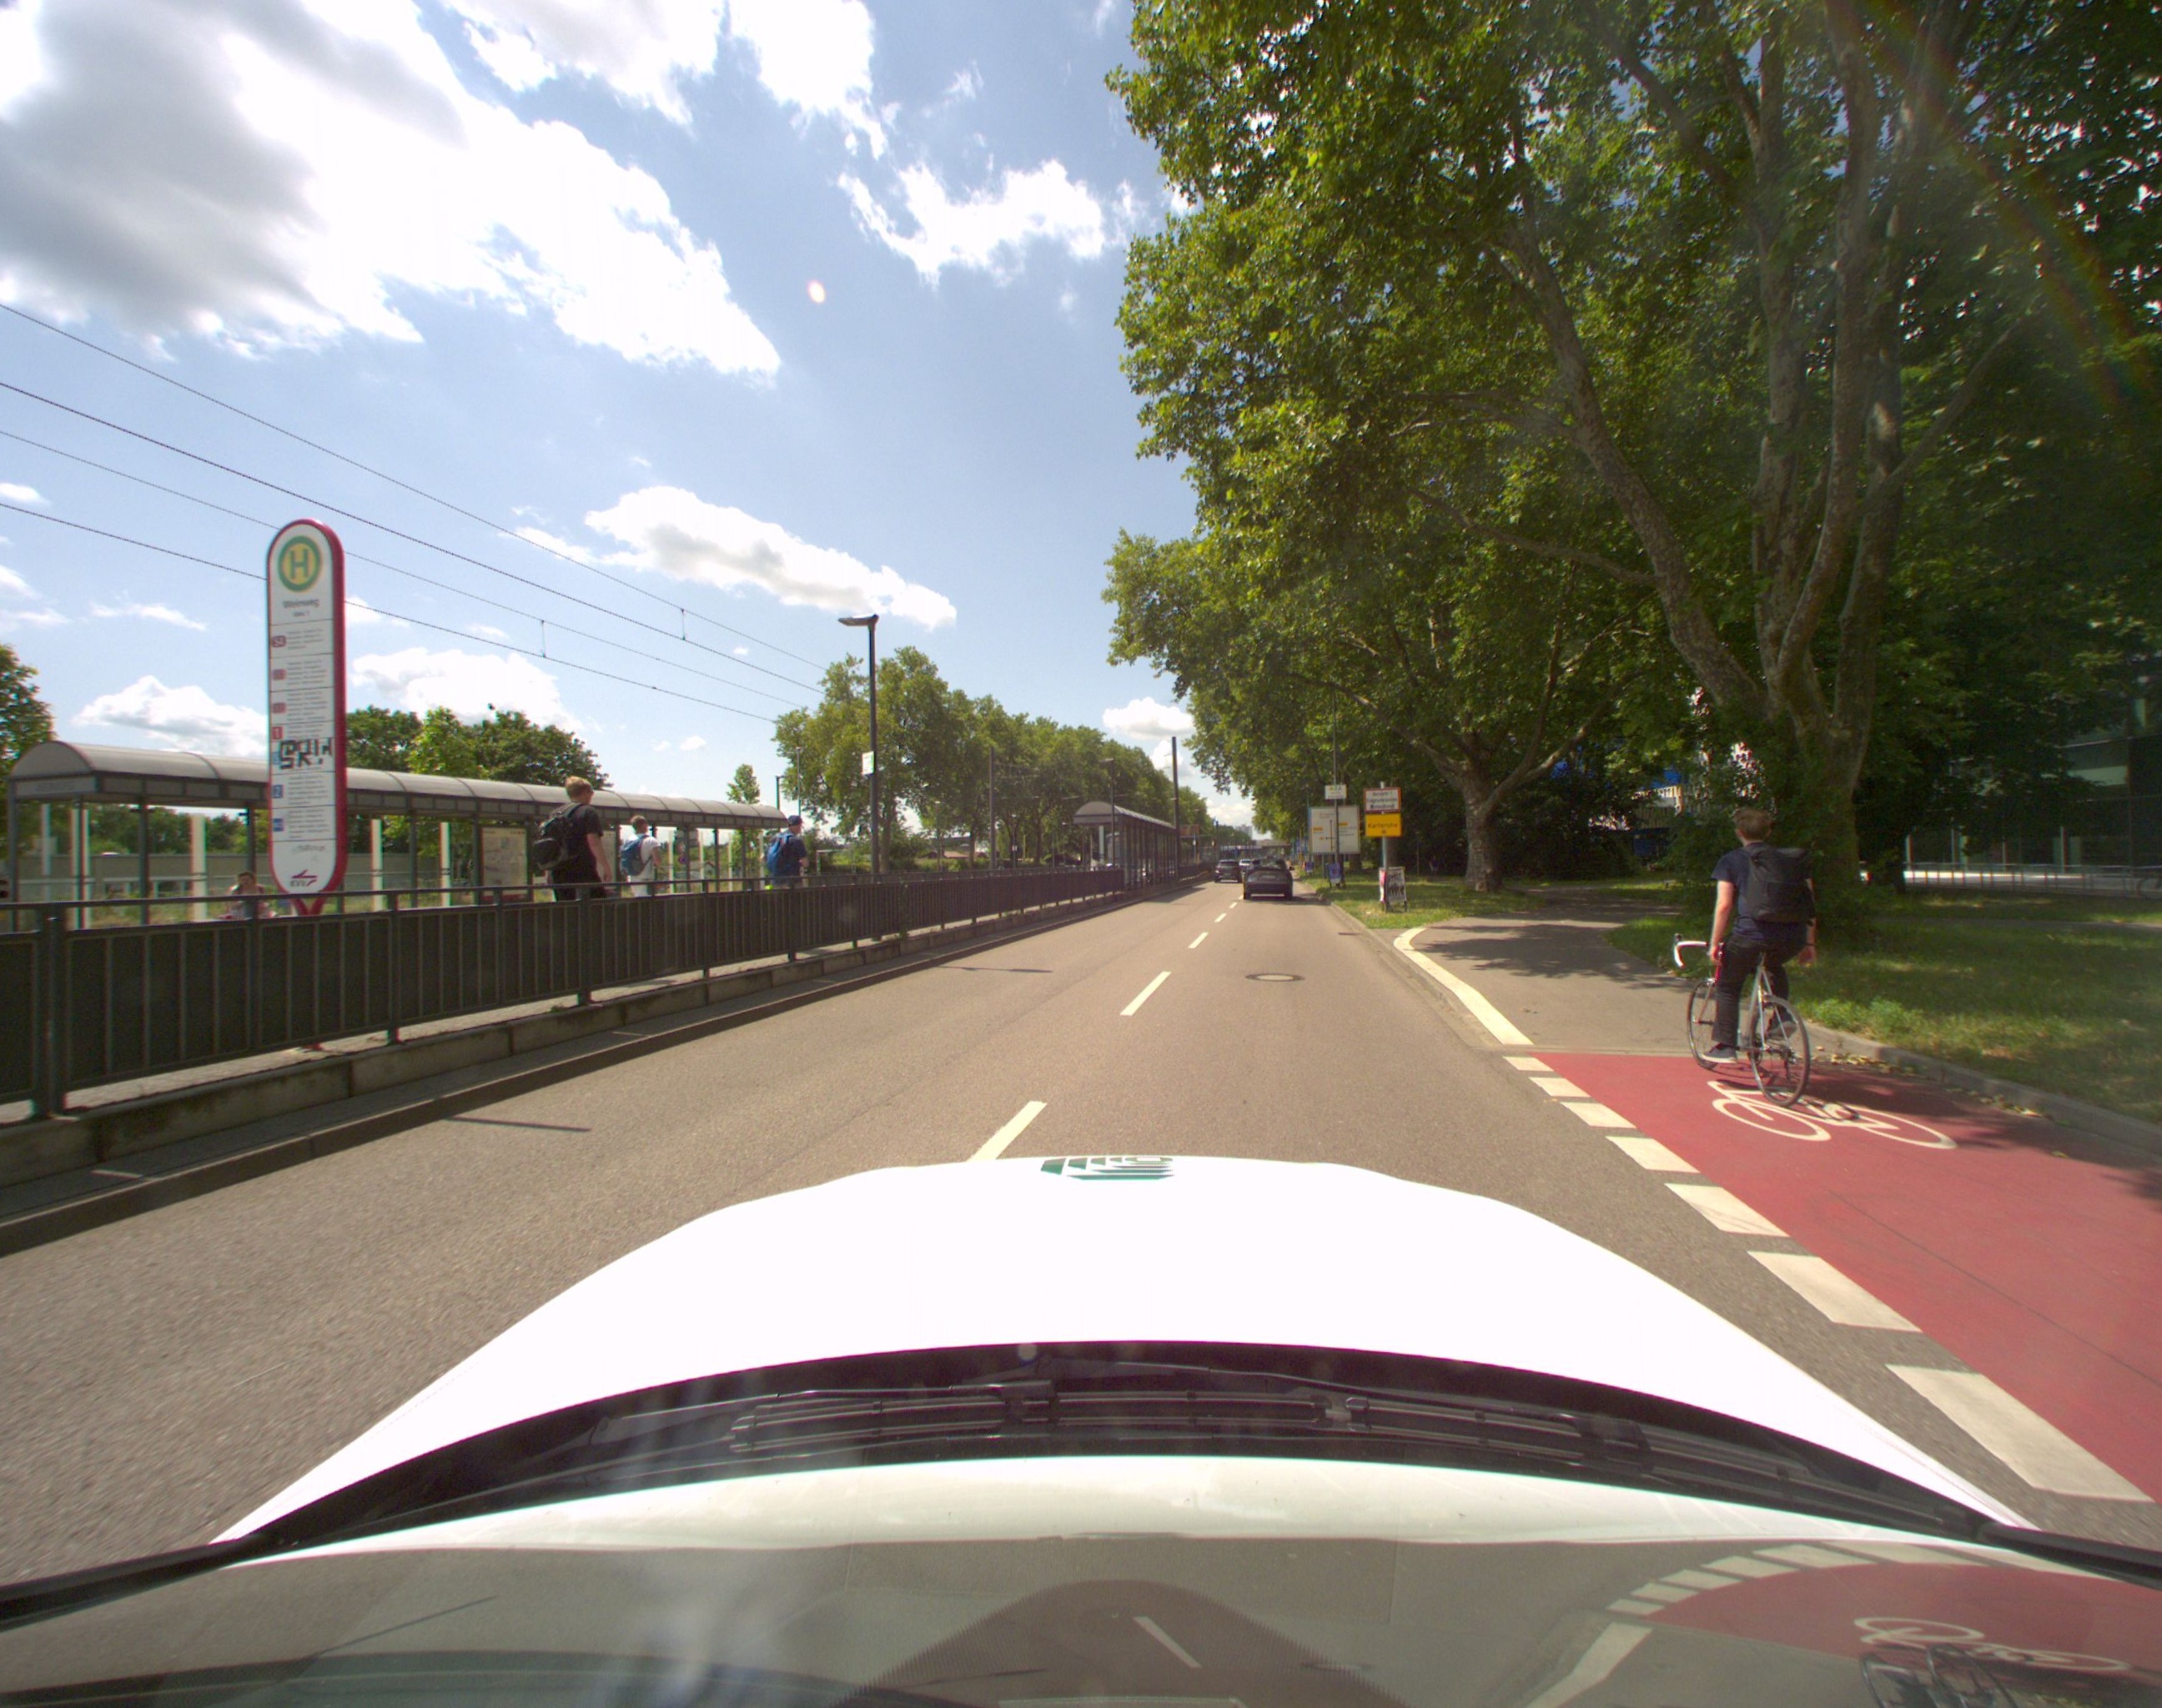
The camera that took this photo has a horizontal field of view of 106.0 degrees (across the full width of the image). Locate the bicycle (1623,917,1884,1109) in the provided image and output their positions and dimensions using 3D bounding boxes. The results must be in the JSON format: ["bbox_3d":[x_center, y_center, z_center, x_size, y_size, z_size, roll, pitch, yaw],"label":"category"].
[{"bbox_3d":[4.585,0.999,5.760,0.615,0.999,2.031,0,-2,15],"label":"bicycle"}]

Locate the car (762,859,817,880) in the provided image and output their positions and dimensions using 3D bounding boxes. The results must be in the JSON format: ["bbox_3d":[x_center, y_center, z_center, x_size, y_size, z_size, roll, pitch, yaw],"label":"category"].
[{"bbox_3d":[-24.410,1.307,68.248,3.886,1.662,1.918,-1,1,15],"label":"car"}]

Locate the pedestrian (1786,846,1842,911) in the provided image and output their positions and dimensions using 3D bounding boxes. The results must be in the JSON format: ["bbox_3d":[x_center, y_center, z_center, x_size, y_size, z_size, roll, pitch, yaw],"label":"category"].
[{"bbox_3d":[19.573,0.631,21.770,0.769,1.695,0.895,-1,0,14],"label":"pedestrian"}]

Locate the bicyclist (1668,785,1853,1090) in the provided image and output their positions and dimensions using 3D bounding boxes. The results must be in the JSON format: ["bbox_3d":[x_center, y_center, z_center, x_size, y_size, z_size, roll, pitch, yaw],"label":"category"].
[{"bbox_3d":[4.492,0.507,5.455,0.605,1.846,0.927,0,-1,15],"label":"bicyclist"}]

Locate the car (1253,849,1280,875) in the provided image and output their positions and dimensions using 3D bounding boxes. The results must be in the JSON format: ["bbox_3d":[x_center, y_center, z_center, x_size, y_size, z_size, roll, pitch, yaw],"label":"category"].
[{"bbox_3d":[15.158,0.636,66.273,1.979,1.989,4.380,-1,0,15],"label":"car"}]

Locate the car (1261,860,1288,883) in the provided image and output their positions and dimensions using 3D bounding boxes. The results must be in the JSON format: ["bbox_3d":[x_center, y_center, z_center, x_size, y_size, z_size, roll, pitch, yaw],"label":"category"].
[{"bbox_3d":[14.231,1.264,59.916,1.819,1.630,4.310,-1,-1,12],"label":"car"}]

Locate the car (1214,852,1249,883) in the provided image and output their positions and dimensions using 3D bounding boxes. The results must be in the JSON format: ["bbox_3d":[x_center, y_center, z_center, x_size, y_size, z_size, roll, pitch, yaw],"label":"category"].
[{"bbox_3d":[10.374,0.880,55.878,1.979,1.989,4.379,-2,-1,14],"label":"car"}]

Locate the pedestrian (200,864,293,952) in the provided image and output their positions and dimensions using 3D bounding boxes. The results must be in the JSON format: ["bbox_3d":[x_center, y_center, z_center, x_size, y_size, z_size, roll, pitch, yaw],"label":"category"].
[{"bbox_3d":[-14.404,0.912,14.071,0.755,1.431,0.790,-4,-1,14],"label":"pedestrian"}]

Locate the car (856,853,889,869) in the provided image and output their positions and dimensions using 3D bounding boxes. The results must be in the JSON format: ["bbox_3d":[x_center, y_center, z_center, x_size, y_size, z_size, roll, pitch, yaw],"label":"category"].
[{"bbox_3d":[-22.998,0.726,89.837,1.891,1.662,3.942,-1,1,12],"label":"car"}]

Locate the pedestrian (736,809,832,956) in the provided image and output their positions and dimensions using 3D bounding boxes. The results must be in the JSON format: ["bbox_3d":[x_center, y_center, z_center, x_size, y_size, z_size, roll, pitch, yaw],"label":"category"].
[{"bbox_3d":[-3.714,0.341,10.240,0.728,1.755,0.933,-1,0,14],"label":"pedestrian"}]

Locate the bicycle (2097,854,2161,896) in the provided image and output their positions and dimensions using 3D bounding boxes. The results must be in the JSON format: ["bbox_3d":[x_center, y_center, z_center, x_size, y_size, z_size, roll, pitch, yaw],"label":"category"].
[{"bbox_3d":[30.200,0.574,22.336,2.742,1.121,0.902,-2,-1,38],"label":"bicycle"}]

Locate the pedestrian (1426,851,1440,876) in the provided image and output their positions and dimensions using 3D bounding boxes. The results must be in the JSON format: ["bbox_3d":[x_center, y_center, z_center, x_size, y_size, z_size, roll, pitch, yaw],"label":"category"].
[{"bbox_3d":[29.019,0.808,67.127,0.830,2.013,0.960,1,0,12],"label":"pedestrian"}]

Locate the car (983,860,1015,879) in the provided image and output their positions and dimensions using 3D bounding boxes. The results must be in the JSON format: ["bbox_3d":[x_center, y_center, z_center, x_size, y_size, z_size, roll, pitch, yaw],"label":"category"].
[{"bbox_3d":[-7.577,1.397,75.618,1.696,1.585,4.015,-1,1,14],"label":"car"}]

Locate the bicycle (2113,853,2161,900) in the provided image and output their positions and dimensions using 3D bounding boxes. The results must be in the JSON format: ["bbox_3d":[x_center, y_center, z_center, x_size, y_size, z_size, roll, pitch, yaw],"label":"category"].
[{"bbox_3d":[29.207,0.546,20.529,3.789,1.176,0.993,-3,-1,39],"label":"bicycle"}]

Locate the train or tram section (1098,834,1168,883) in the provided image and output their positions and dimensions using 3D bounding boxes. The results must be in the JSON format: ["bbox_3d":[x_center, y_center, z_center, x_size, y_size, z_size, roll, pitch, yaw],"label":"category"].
[{"bbox_3d":[4.124,0.334,60.281,3.017,3.186,14.147,-1,-1,12],"label":"train or tram section"}]

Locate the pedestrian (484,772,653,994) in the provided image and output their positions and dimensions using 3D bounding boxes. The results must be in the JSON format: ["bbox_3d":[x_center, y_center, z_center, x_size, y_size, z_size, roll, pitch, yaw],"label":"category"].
[{"bbox_3d":[-4.802,0.248,7.697,0.867,1.939,0.998,-1,1,14],"label":"pedestrian"}]

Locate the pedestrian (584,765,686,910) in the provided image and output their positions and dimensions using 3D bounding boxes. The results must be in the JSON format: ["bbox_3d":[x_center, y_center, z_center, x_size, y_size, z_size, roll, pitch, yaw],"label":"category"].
[{"bbox_3d":[-5.834,-0.208,10.693,0.728,1.807,0.933,-1,0,14],"label":"pedestrian"}]

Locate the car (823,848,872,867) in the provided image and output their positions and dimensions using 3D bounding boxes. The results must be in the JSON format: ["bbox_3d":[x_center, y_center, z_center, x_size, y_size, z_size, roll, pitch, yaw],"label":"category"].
[{"bbox_3d":[-21.713,0.307,75.732,3.886,1.662,1.918,-1,1,15],"label":"car"}]

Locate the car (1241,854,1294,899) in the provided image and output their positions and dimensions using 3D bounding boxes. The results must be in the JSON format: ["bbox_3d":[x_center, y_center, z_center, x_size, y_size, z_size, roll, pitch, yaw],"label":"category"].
[{"bbox_3d":[7.390,0.863,32.390,1.885,1.675,4.535,-1,-1,13],"label":"car"}]
